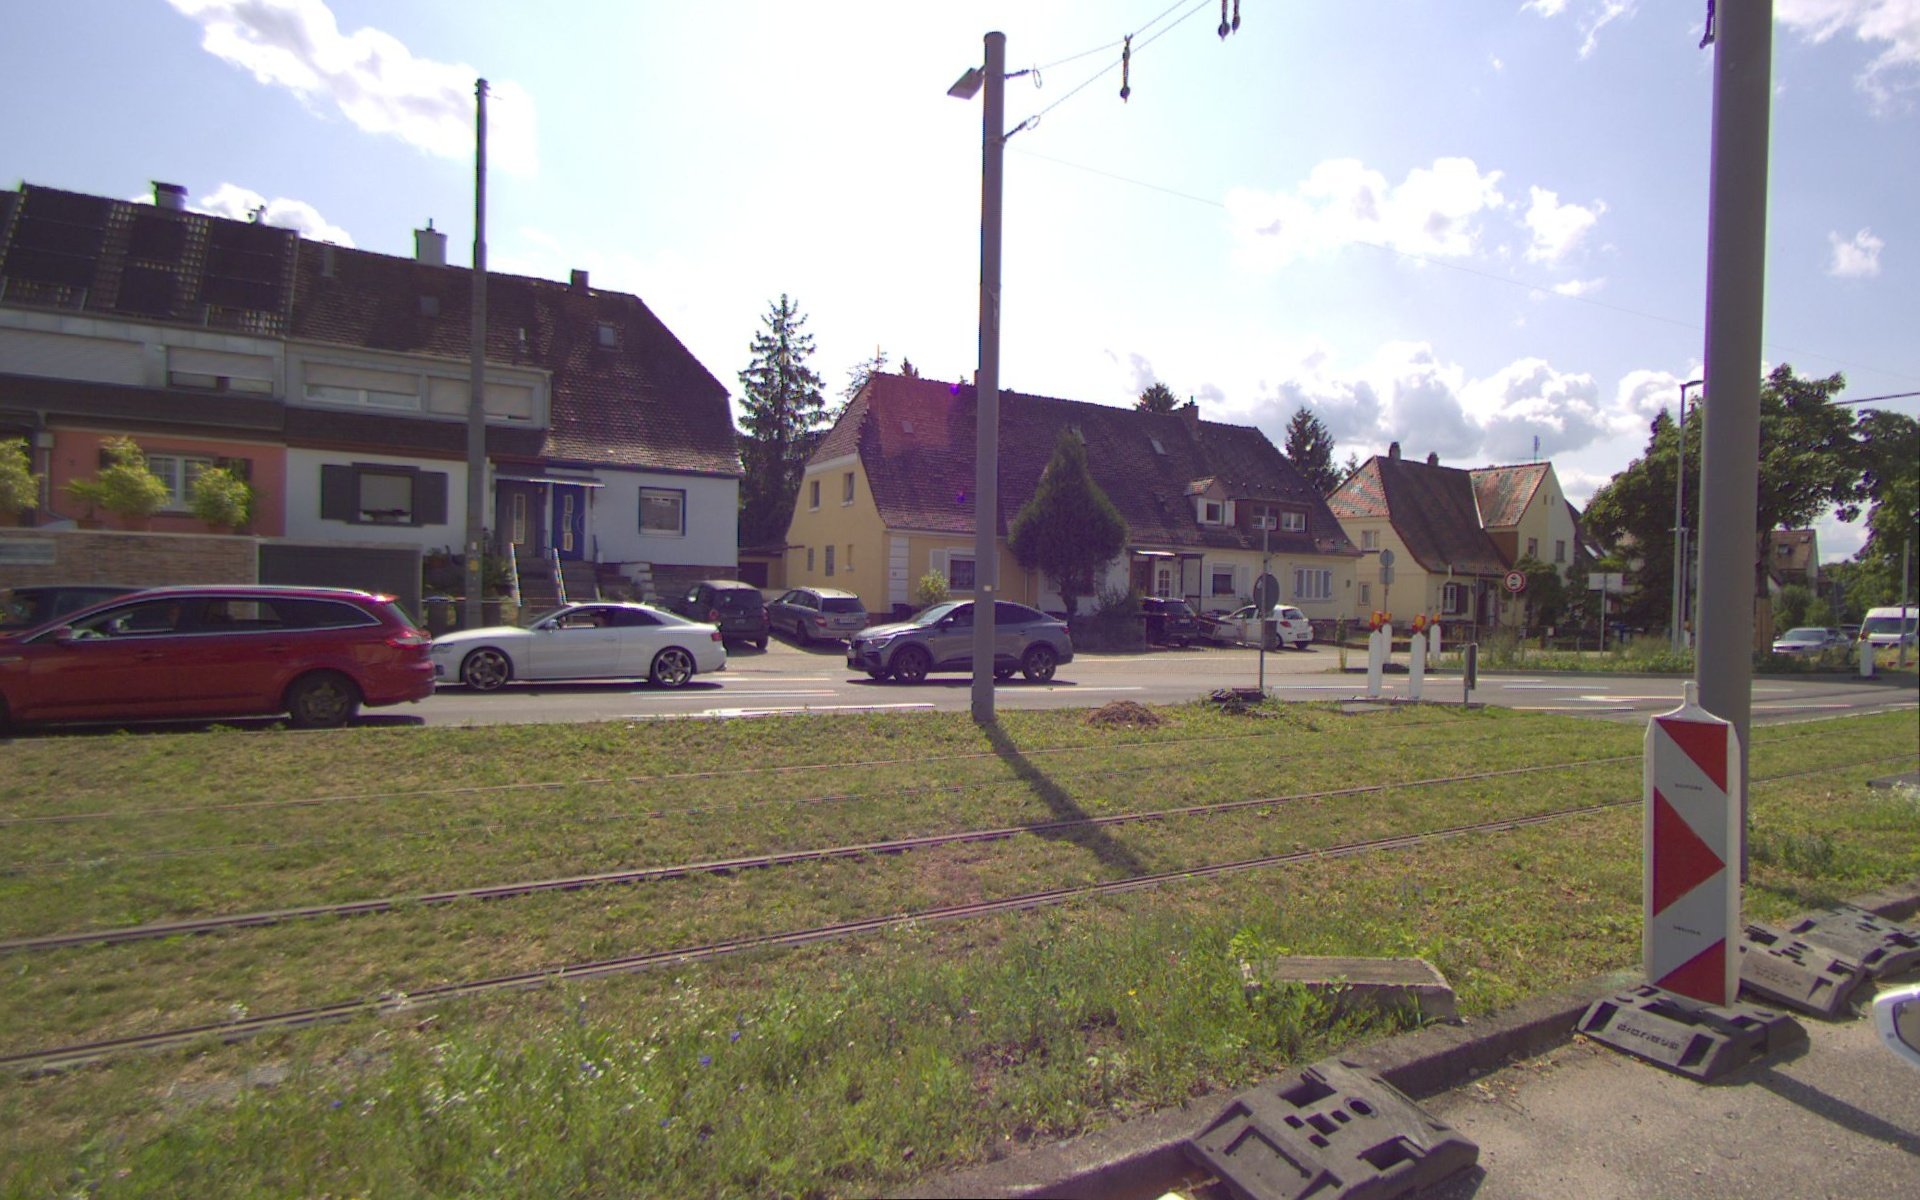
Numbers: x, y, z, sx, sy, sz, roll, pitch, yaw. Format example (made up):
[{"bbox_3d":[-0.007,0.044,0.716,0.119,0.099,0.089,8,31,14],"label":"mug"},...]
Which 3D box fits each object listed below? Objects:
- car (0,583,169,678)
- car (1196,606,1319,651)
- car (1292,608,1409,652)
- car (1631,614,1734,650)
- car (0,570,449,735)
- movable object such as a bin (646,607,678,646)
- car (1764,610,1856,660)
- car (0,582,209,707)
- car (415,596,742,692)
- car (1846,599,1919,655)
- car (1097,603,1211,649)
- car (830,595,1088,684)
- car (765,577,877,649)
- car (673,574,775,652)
[{"bbox_3d":[-14.700,0.466,15.999,3.050,1.438,1.559,1,0,-30],"label":"car"},{"bbox_3d":[10.731,1.002,36.467,1.967,1.486,4.089,1,0,-29],"label":"car"},{"bbox_3d":[14.740,1.108,38.129,1.684,1.417,3.968,1,1,-29],"label":"car"},{"bbox_3d":[39.272,1.704,54.691,2.079,1.800,4.083,1,0,-33],"label":"car"},{"bbox_3d":[-8.138,0.500,10.605,4.799,1.513,1.835,2,0,-30],"label":"car"},{"bbox_3d":[-7.341,0.647,24.733,0.599,0.946,0.690,1,0,-32],"label":"movable object such as a bin"},{"bbox_3d":[33.092,1.350,39.067,4.087,1.800,2.076,2,0,-40],"label":"car"},{"bbox_3d":[-12.166,0.538,13.045,3.612,1.513,1.835,2,0,-30],"label":"car"},{"bbox_3d":[-6.115,0.684,16.278,4.718,1.361,1.836,2,0,-28],"label":"car"},{"bbox_3d":[42.602,1.218,45.964,4.840,2.369,2.386,2,0,-40],"label":"car"},{"bbox_3d":[6.573,0.870,34.281,1.917,1.423,3.602,1,0,-30],"label":"car"},{"bbox_3d":[-0.004,0.746,19.511,4.673,1.555,1.838,2,0,-24],"label":"car"},{"bbox_3d":[-3.900,0.307,27.647,1.586,1.512,3.931,1,5,-31],"label":"car"},{"bbox_3d":[-6.176,0.302,26.068,1.586,1.616,3.366,1,5,-31],"label":"car"}]
